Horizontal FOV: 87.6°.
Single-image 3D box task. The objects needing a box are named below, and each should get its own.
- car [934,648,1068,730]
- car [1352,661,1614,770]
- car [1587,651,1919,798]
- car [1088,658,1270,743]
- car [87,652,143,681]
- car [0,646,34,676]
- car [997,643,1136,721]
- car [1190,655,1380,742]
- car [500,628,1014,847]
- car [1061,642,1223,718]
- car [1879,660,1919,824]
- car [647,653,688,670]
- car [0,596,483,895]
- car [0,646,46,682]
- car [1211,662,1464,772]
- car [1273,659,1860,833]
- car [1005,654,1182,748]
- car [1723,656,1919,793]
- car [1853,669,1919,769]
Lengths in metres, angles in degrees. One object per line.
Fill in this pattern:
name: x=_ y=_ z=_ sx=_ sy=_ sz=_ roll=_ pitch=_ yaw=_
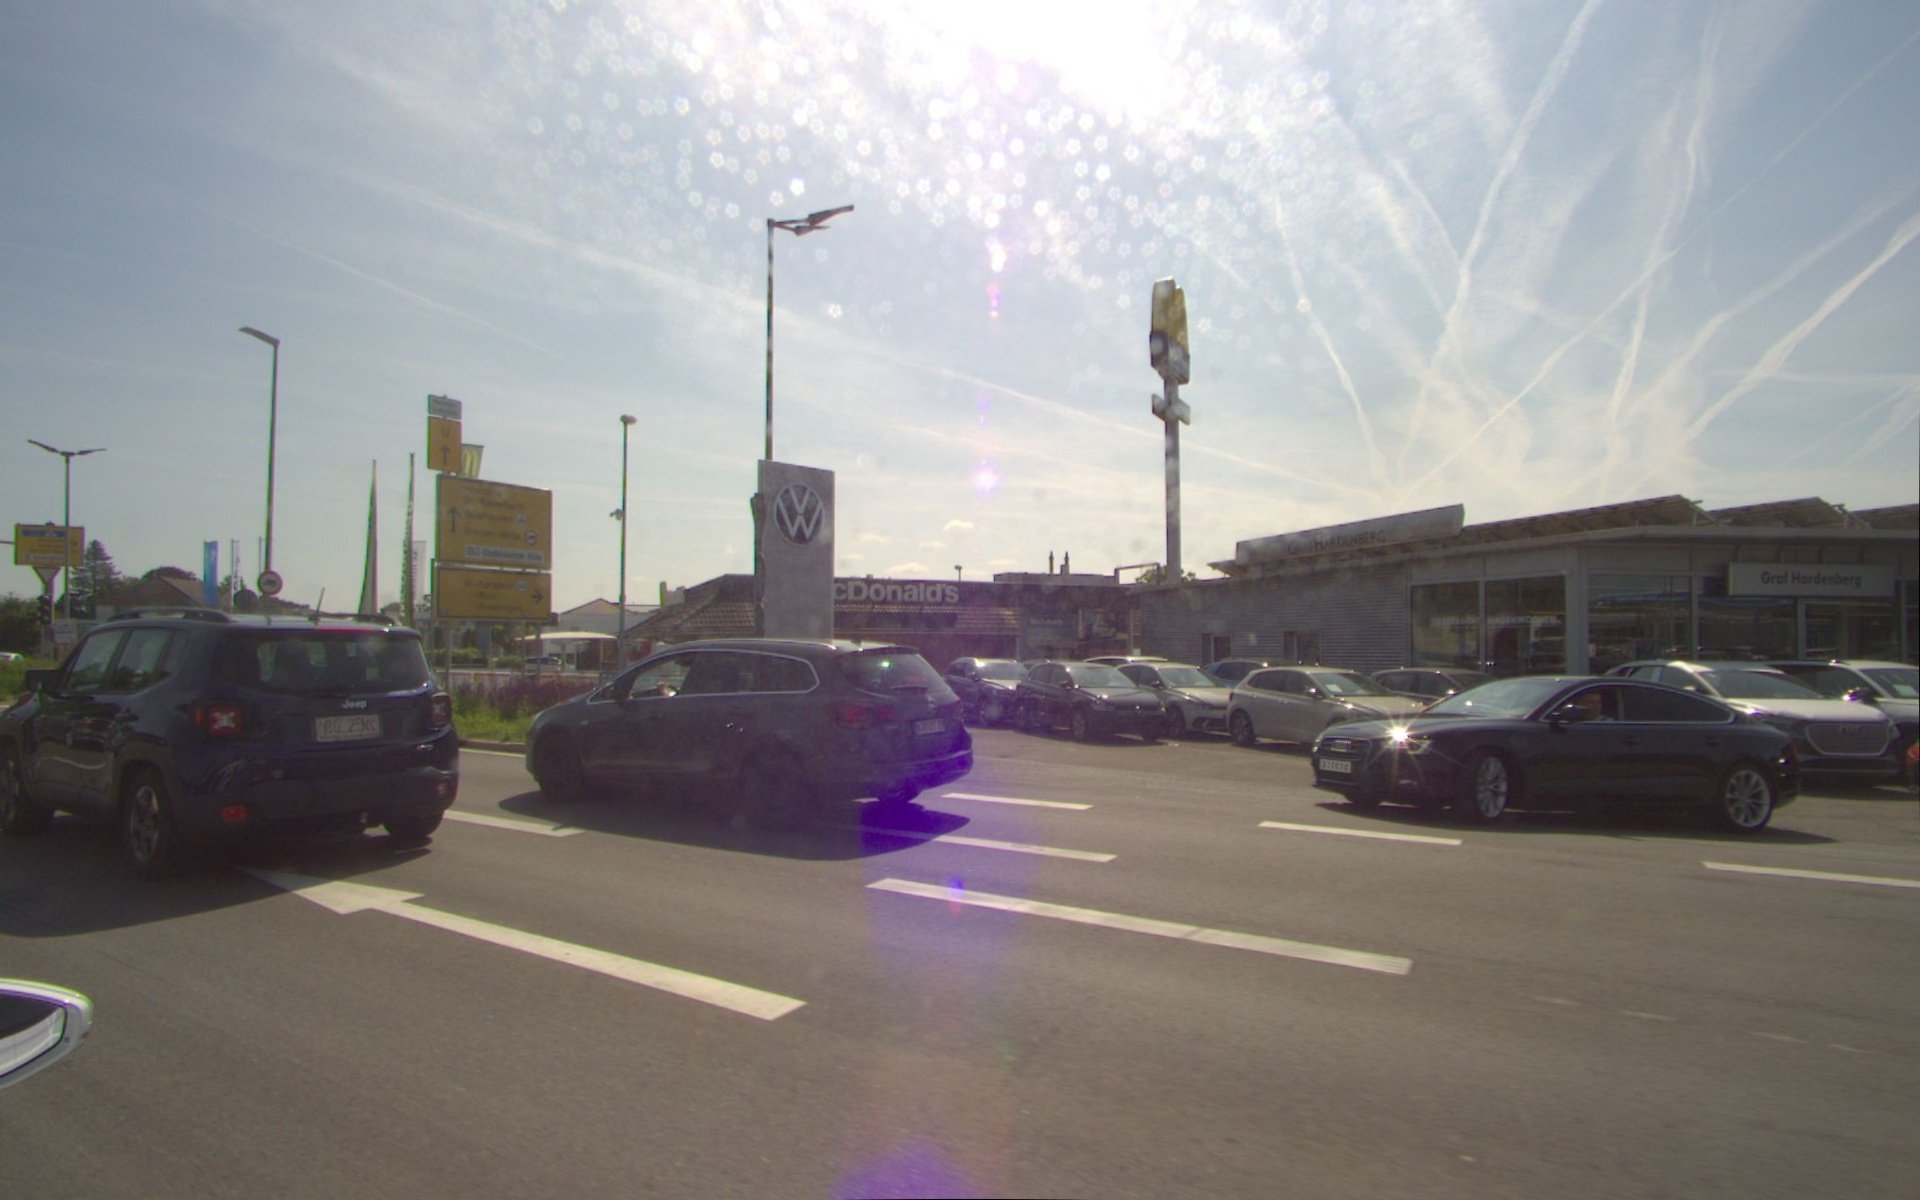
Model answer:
car: x=0.881 y=2.050 z=23.940 sx=1.747 sy=1.692 sz=3.899 roll=0 pitch=-1 yaw=-22
car: x=8.774 y=1.866 z=17.155 sx=1.721 sy=1.495 sz=3.785 roll=0 pitch=-2 yaw=-22
car: x=11.003 y=1.625 z=14.219 sx=1.741 sy=1.692 sz=4.027 roll=0 pitch=-1 yaw=2
car: x=4.523 y=2.041 z=21.316 sx=1.767 sy=1.469 sz=4.143 roll=0 pitch=-2 yaw=-22
car: x=-50.045 y=3.928 z=59.387 sx=1.756 sy=1.594 sz=3.692 roll=4 pitch=-5 yaw=-29
car: x=-51.458 y=3.195 z=52.763 sx=1.966 sy=1.522 sz=4.994 roll=2 pitch=-5 yaw=-19
car: x=2.565 y=1.971 z=25.143 sx=1.747 sy=1.692 sz=4.159 roll=0 pitch=-1 yaw=-22
car: x=6.780 y=2.010 z=21.341 sx=1.747 sy=1.538 sz=3.949 roll=0 pitch=-2 yaw=-22
car: x=-1.909 y=1.034 z=9.072 sx=4.384 sy=1.539 sz=1.991 roll=-1 pitch=-1 yaw=31
car: x=4.584 y=1.988 z=26.036 sx=1.881 sy=1.692 sz=4.805 roll=0 pitch=-2 yaw=-22
car: x=11.753 y=1.412 z=9.602 sx=3.998 sy=1.674 sz=1.777 roll=0 pitch=-3 yaw=7
car: x=-31.200 y=6.552 z=106.668 sx=4.118 sy=1.639 sz=2.004 roll=0 pitch=-1 yaw=-20
car: x=-5.513 y=0.871 z=7.437 sx=3.944 sy=1.675 sz=1.767 roll=-1 pitch=-1 yaw=33
car: x=-44.262 y=2.936 z=46.113 sx=1.969 sy=1.594 sz=3.989 roll=3 pitch=-4 yaw=-24
car: x=6.369 y=1.914 z=17.460 sx=1.721 sy=1.511 sz=4.252 roll=0 pitch=-2 yaw=-22
car: x=5.627 y=1.395 z=9.520 sx=4.729 sy=1.347 sz=1.967 roll=3 pitch=-7 yaw=-13
car: x=2.551 y=1.927 z=20.122 sx=1.747 sy=1.552 sz=4.079 roll=0 pitch=-2 yaw=-22
car: x=13.363 y=1.694 z=14.159 sx=1.884 sy=1.692 sz=4.001 roll=0 pitch=-1 yaw=-5
car: x=15.832 y=1.821 z=14.431 sx=1.858 sy=1.476 sz=4.210 roll=0 pitch=-1 yaw=-9
